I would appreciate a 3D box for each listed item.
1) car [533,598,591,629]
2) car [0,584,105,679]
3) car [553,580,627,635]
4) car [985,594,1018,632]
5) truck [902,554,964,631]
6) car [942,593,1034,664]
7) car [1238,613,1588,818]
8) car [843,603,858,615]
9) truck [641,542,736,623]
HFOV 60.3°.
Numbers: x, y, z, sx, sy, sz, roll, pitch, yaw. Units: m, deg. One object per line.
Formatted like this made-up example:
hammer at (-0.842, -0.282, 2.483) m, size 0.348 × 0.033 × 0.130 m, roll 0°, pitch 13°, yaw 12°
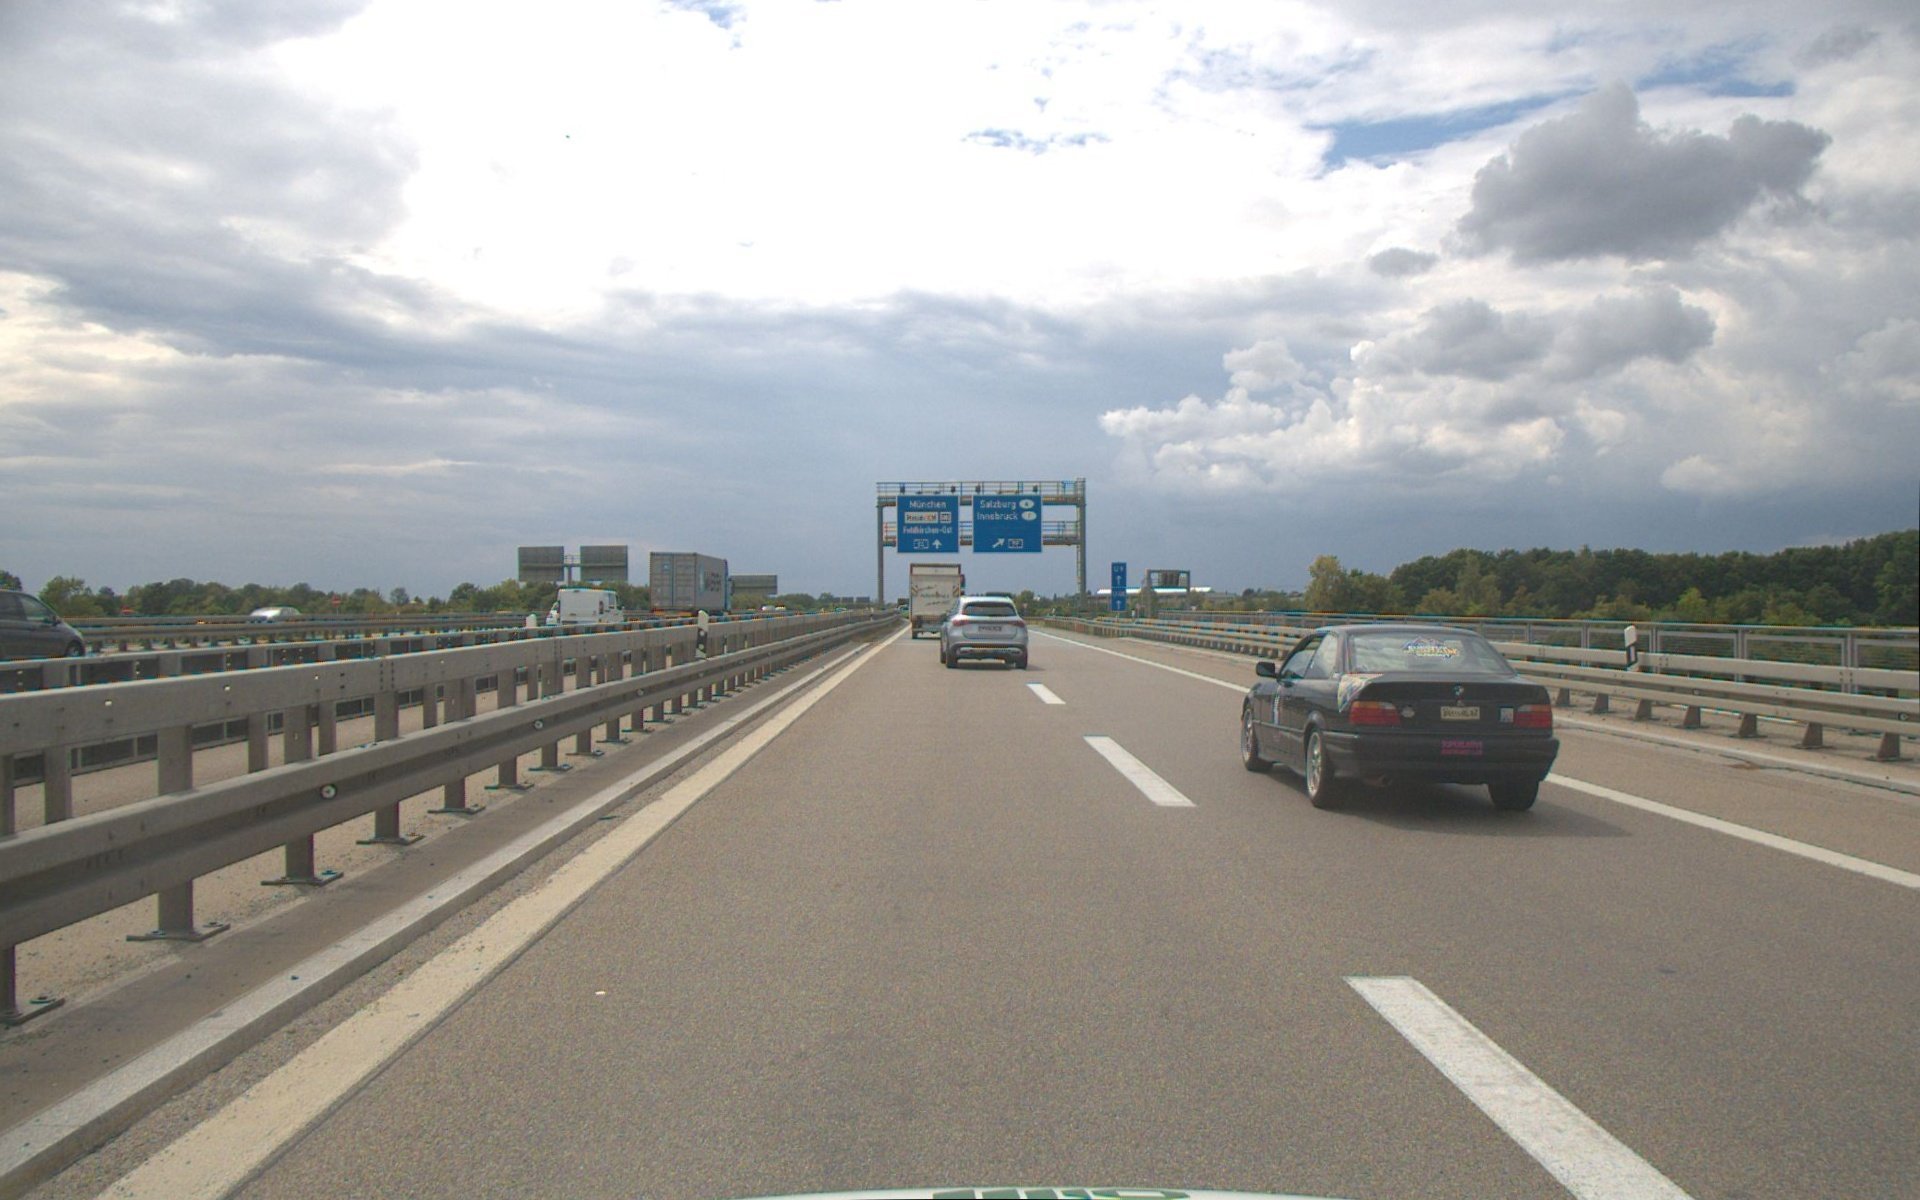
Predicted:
car at (-19.131, 0.630, 79.614) m, size 1.761 × 1.444 × 4.000 m, roll 1°, pitch 0°, yaw 1°
car at (-17.177, 0.518, 29.169) m, size 1.843 × 1.573 × 4.614 m, roll 1°, pitch 0°, yaw -1°
car at (-14.518, 0.257, 65.105) m, size 1.953 × 2.049 × 4.373 m, roll 1°, pitch 0°, yaw -1°
car at (2.636, 0.797, 106.083) m, size 1.868 × 2.301 × 4.648 m, roll 1°, pitch 0°, yaw -1°
truck at (-1.193, -0.224, 73.598) m, size 2.517 × 3.181 × 8.632 m, roll 1°, pitch -1°, yaw -1°
car at (0.607, 0.629, 38.880) m, size 1.784 × 1.541 × 3.996 m, roll 1°, pitch 0°, yaw -5°
car at (3.451, 0.801, 13.440) m, size 1.669 × 1.303 × 4.366 m, roll 1°, pitch 0°, yaw 1°
car at (-15.365, 1.277, 232.101) m, size 1.790 × 1.590 × 4.000 m, roll 1°, pitch 0°, yaw 0°
truck at (-15.036, -0.941, 92.893) m, size 3.119 × 4.089 × 16.069 m, roll 1°, pitch 0°, yaw -2°
